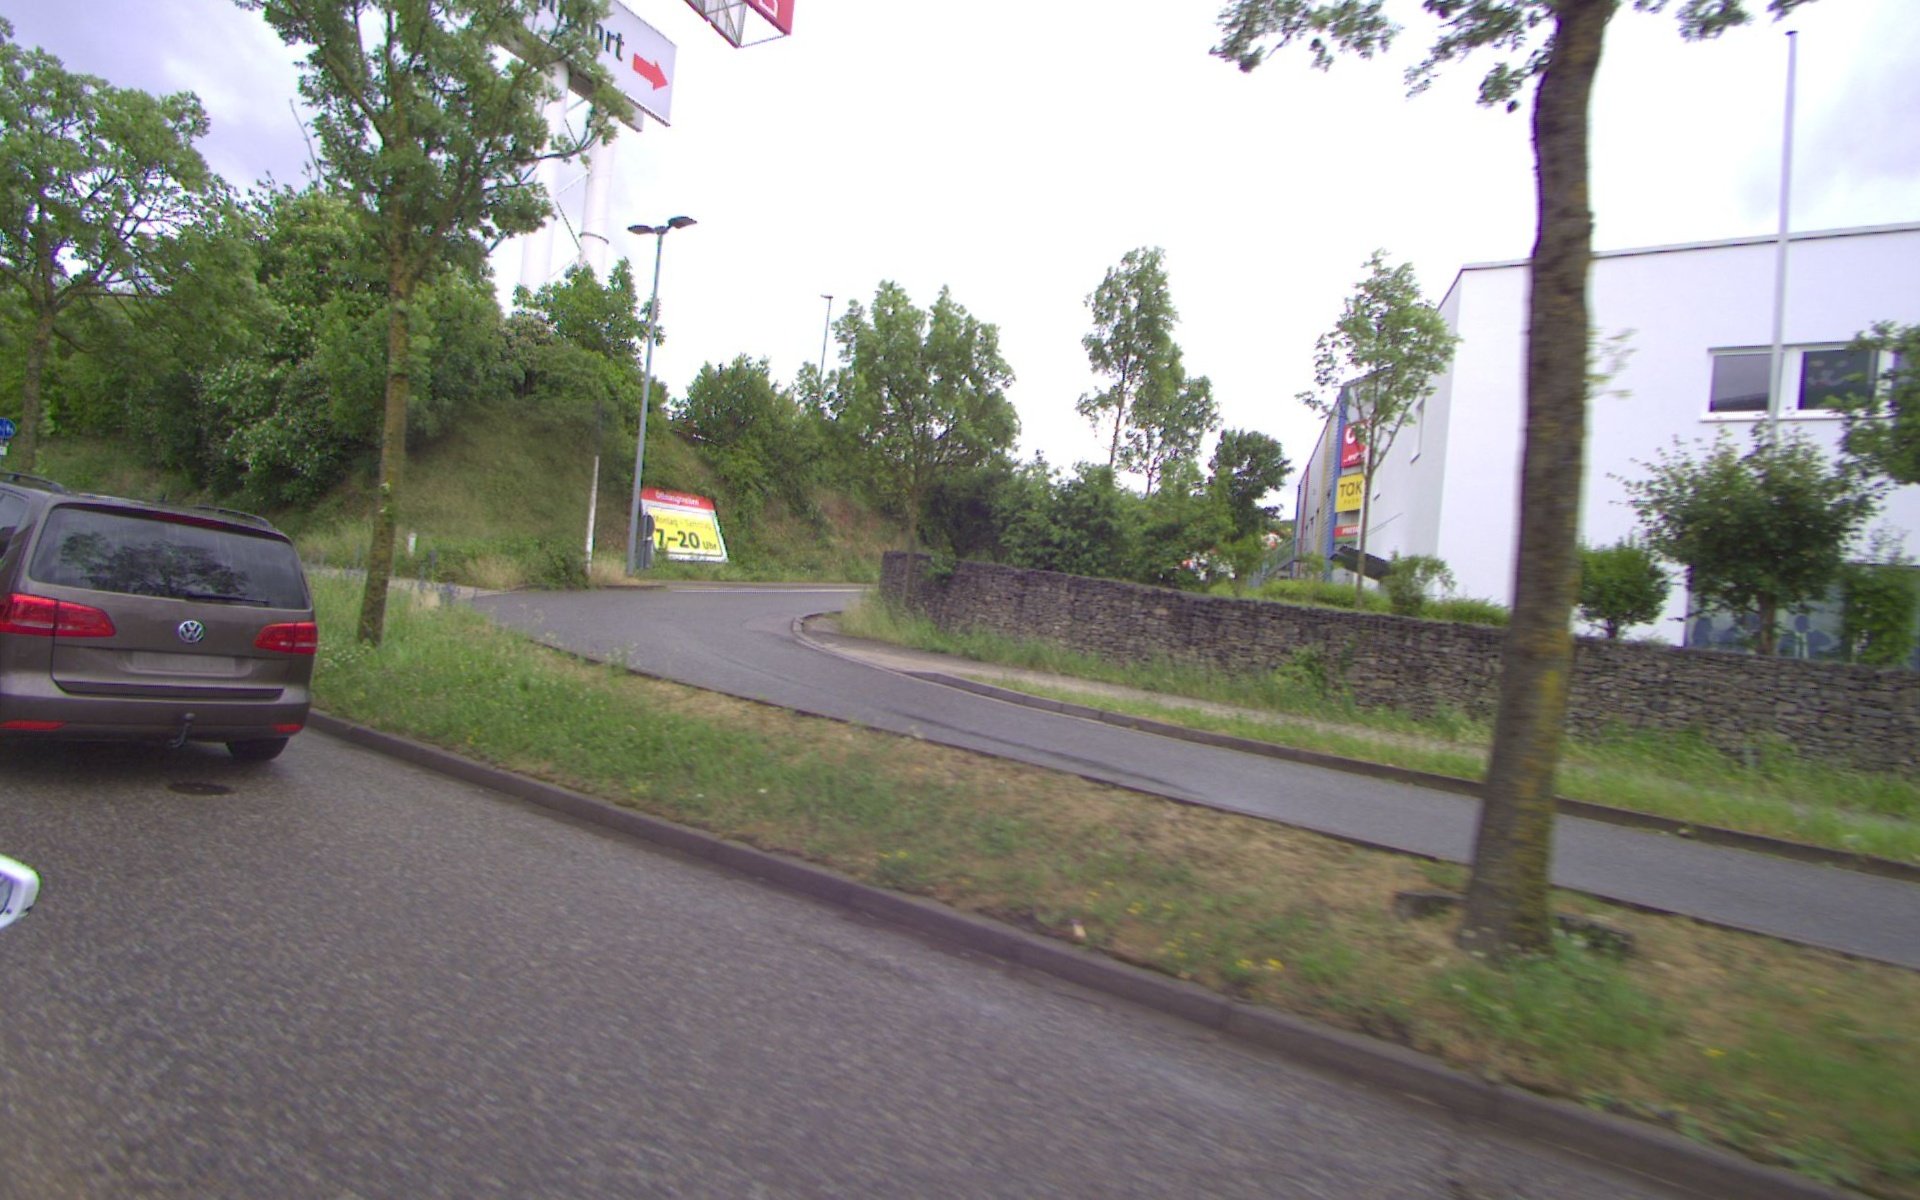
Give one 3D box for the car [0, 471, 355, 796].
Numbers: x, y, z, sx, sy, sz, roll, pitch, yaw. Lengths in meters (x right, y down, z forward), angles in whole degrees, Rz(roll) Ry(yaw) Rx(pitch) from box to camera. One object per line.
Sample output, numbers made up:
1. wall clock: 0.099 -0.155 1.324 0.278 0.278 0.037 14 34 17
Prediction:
1. car: -6.098 0.041 6.699 4.148 1.599 1.689 7 -2 32
